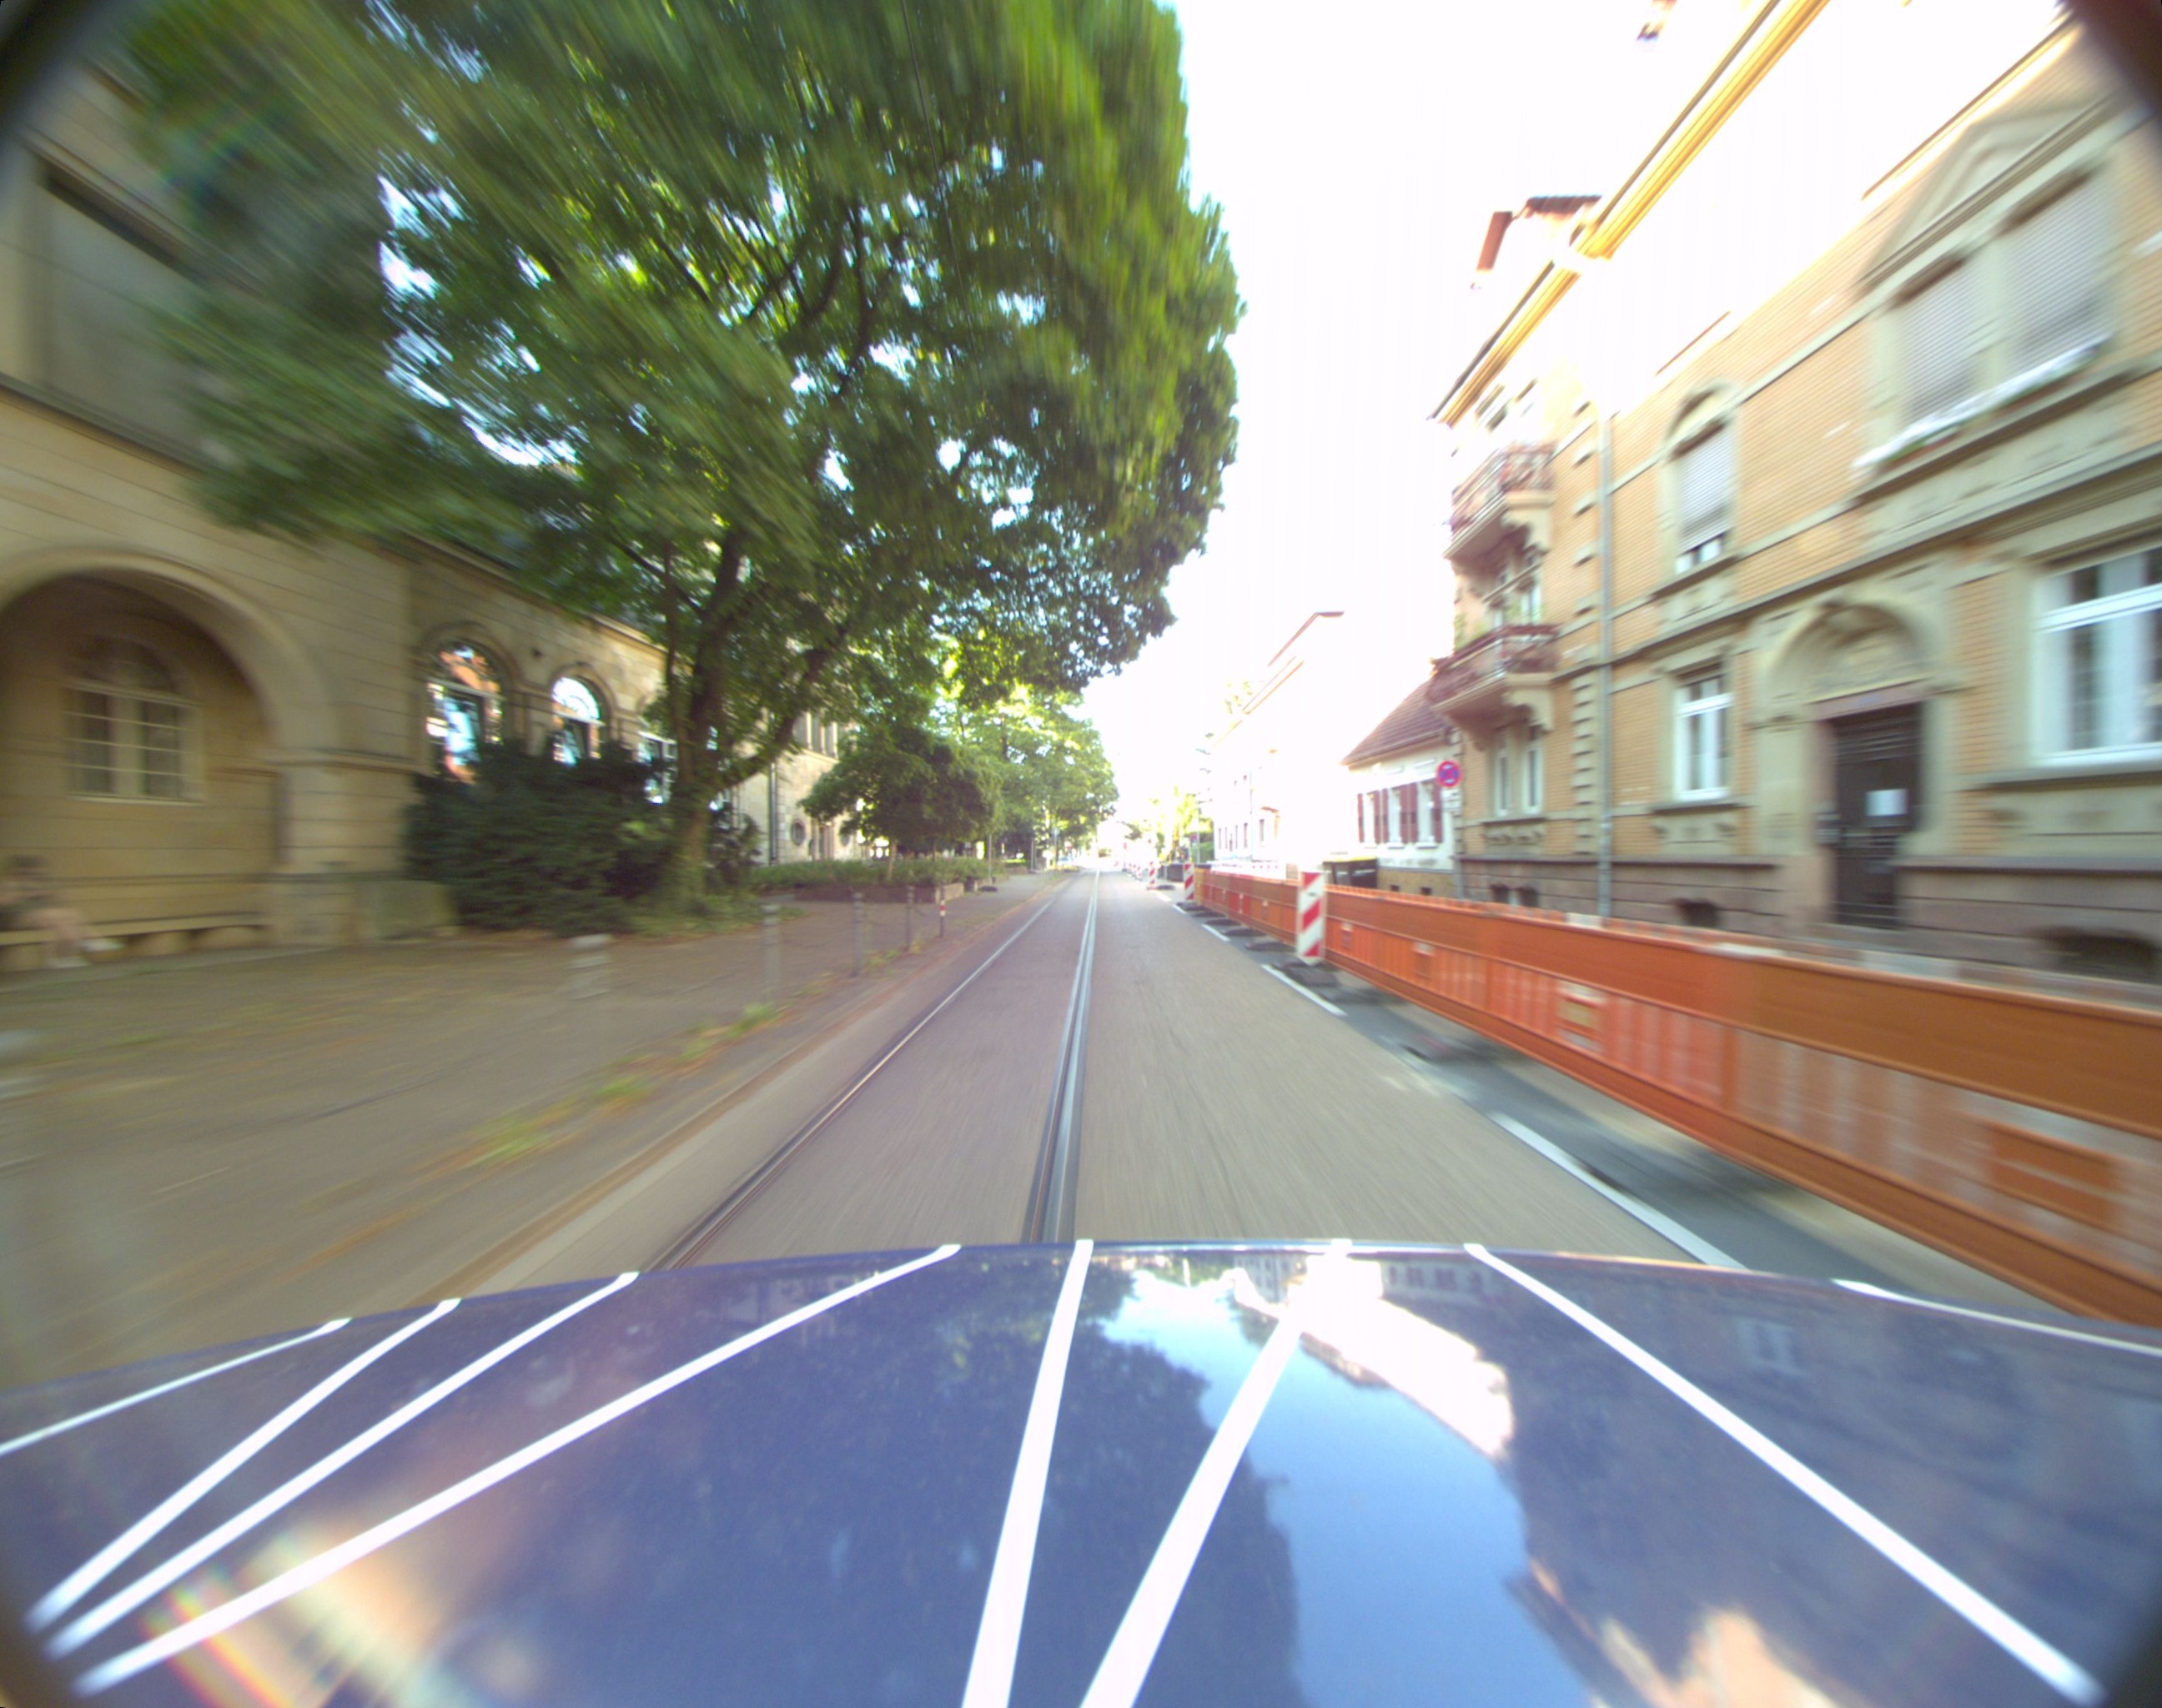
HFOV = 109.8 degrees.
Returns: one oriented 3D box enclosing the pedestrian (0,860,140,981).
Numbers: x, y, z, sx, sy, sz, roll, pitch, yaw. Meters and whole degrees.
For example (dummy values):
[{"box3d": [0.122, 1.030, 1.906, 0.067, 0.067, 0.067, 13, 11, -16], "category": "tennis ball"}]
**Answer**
[{"box3d": [-12.106, 0.772, 9.016, 0.982, 1.347, 0.667, -2, 1, 3], "category": "pedestrian"}]
